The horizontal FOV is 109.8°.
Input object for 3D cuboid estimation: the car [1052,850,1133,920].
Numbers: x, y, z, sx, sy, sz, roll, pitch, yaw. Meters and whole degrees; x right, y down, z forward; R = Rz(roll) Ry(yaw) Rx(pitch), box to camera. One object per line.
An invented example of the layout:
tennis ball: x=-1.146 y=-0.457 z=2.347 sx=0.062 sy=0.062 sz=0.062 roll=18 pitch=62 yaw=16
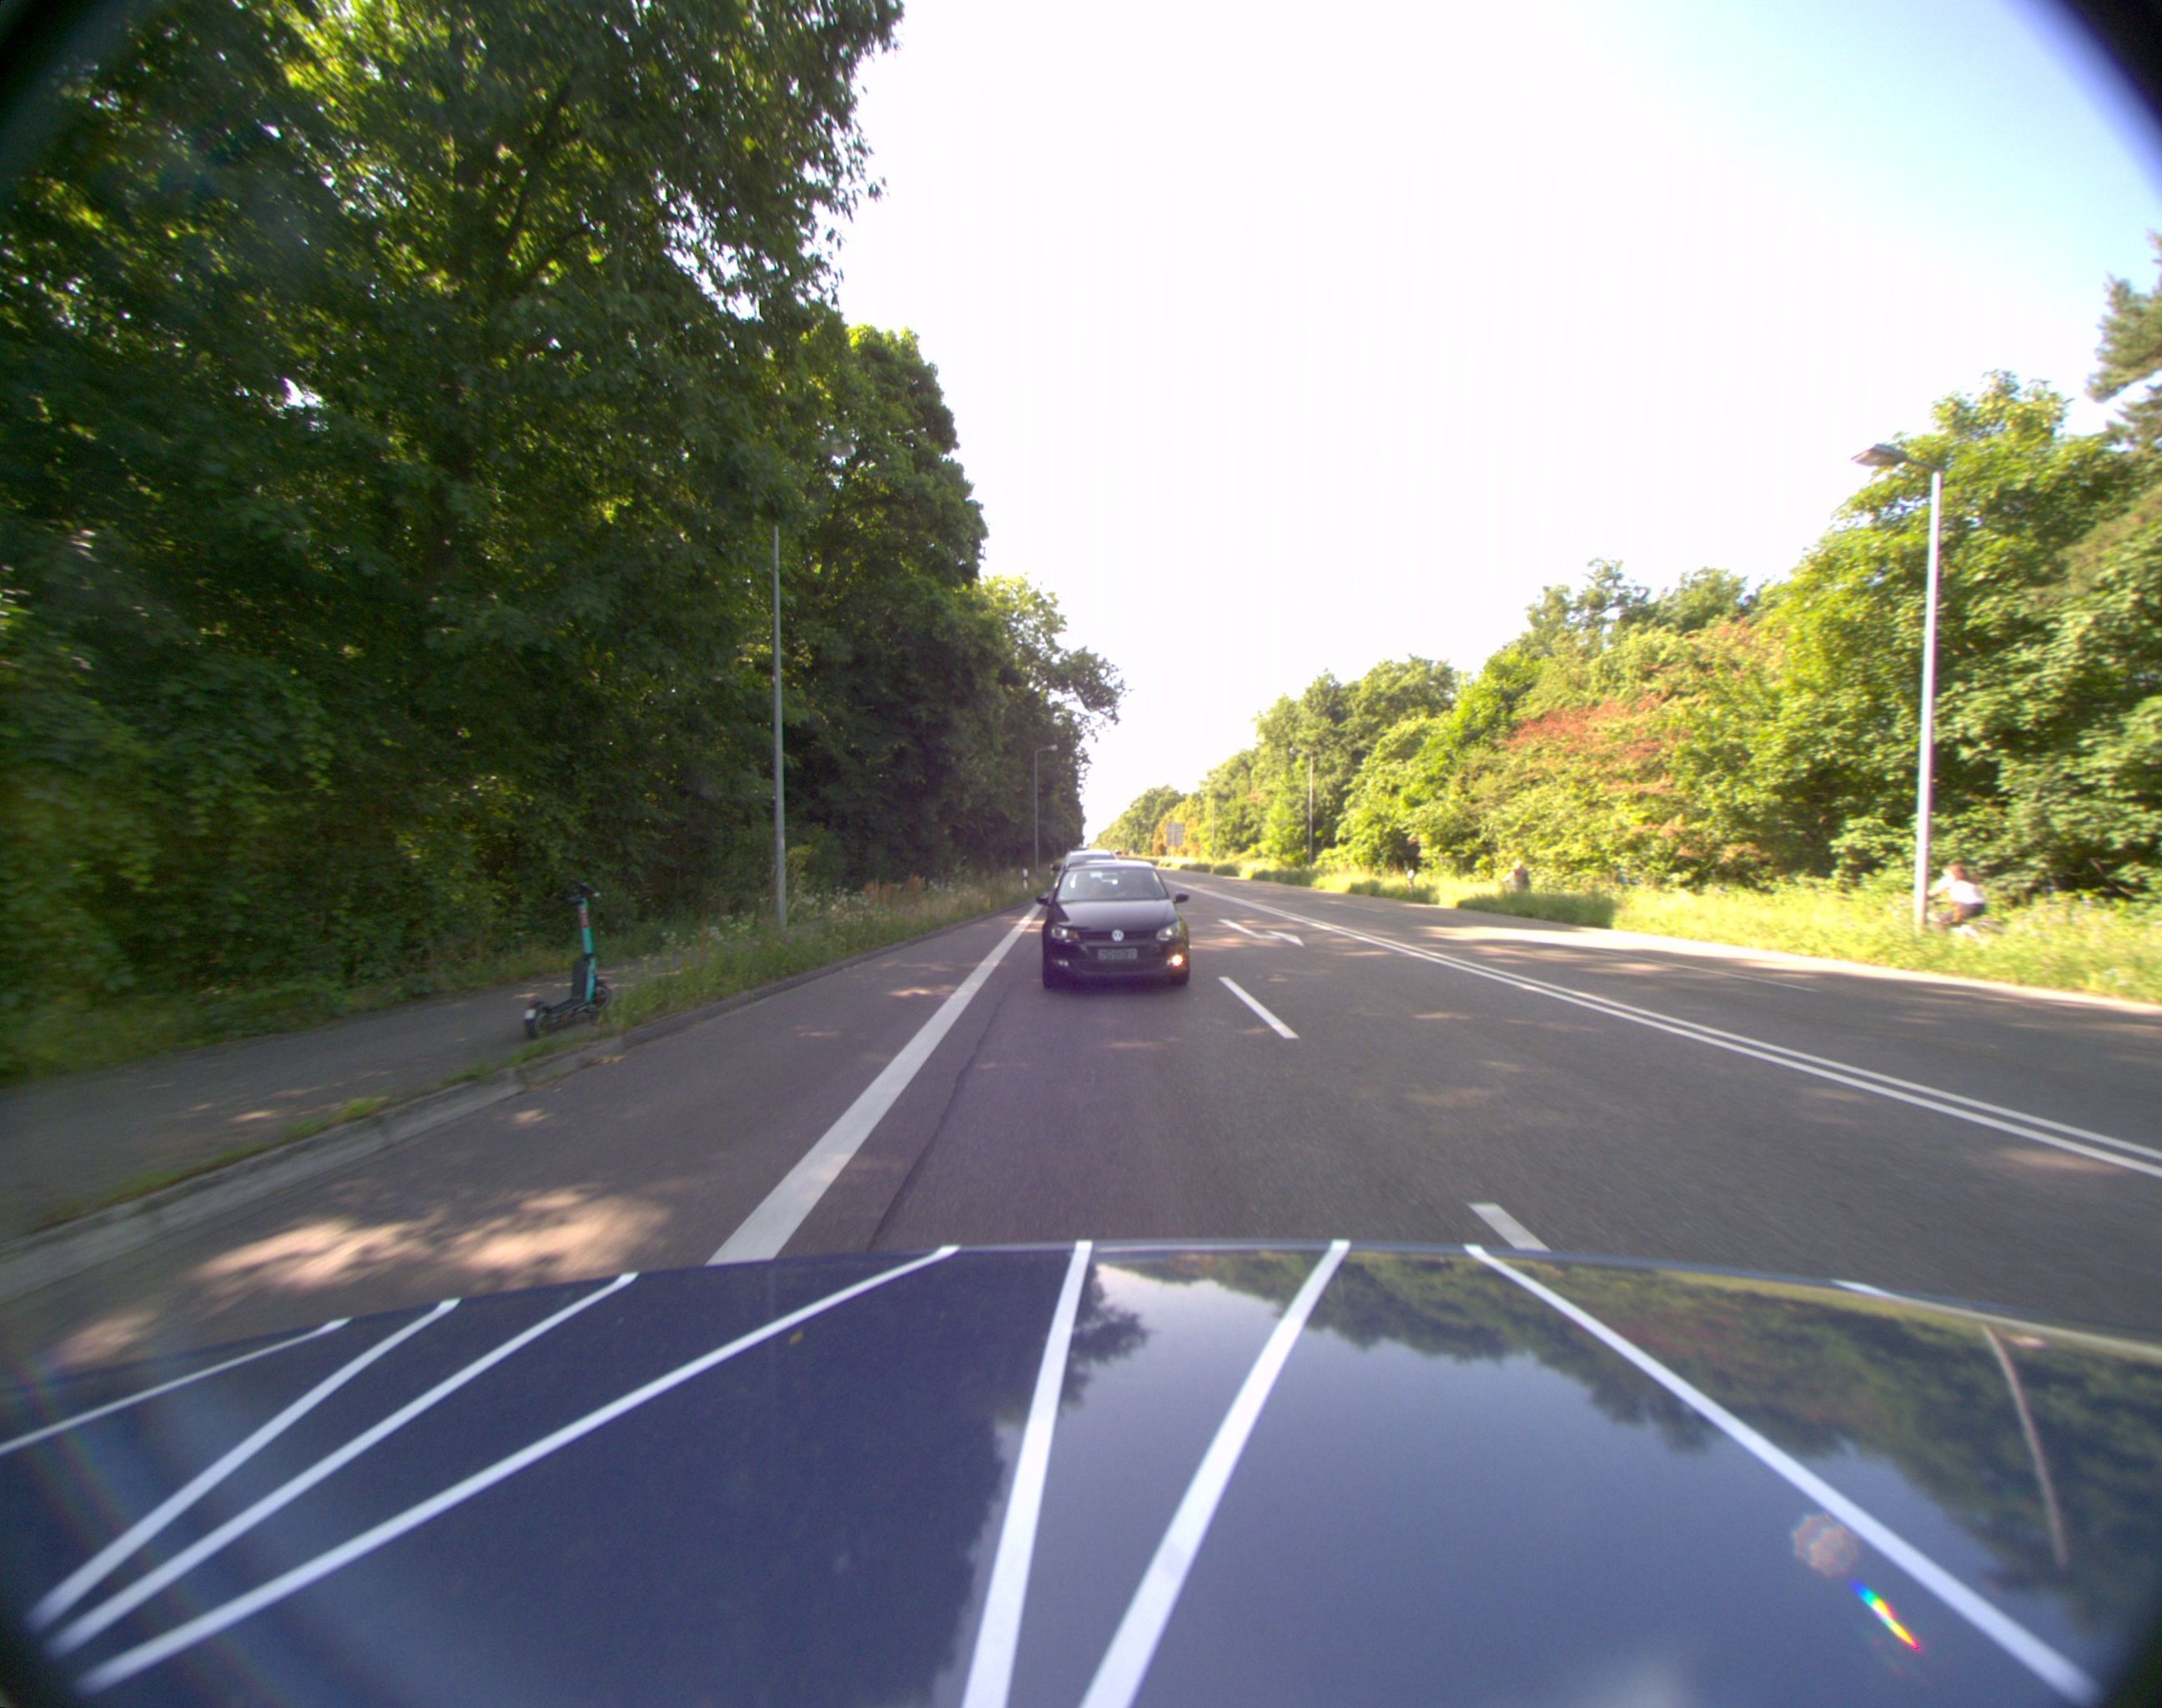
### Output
car: x=0.428 y=0.751 z=20.501 sx=1.812 sy=1.639 sz=4.309 roll=-1 pitch=0 yaw=5

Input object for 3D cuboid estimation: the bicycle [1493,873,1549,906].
bicycle: x=14.464 y=1.164 z=25.033 sx=0.677 sy=0.951 sz=1.912 roll=-2 pitch=1 yaw=-2

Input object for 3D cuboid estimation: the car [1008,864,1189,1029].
car: x=0.347 y=0.904 z=9.162 sx=1.650 sy=1.422 sz=4.056 roll=-2 pitch=0 yaw=5

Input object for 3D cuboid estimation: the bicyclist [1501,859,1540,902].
bicyclist: x=14.455 y=0.855 z=25.002 sx=0.677 sy=1.335 sz=0.974 roll=-2 pitch=1 yaw=-3

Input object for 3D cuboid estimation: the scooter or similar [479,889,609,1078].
scooter or similar: x=-4.327 y=0.972 z=6.209 sx=0.401 sy=1.299 sz=1.328 roll=0 pitch=1 yaw=-14

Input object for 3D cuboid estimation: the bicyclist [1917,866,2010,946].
bicyclist: x=14.746 y=0.850 z=12.715 sx=0.702 sy=1.256 sz=0.727 roll=-2 pitch=1 yaw=2

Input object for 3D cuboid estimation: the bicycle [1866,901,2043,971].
bicycle: x=14.785 y=1.357 z=12.969 sx=0.605 sy=0.952 sz=2.139 roll=0 pitch=0 yaw=2

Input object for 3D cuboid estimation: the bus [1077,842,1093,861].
bus: x=0.733 y=-0.537 z=140.159 sx=2.782 sy=3.437 sz=7.792 roll=-2 pitch=1 yaw=0
